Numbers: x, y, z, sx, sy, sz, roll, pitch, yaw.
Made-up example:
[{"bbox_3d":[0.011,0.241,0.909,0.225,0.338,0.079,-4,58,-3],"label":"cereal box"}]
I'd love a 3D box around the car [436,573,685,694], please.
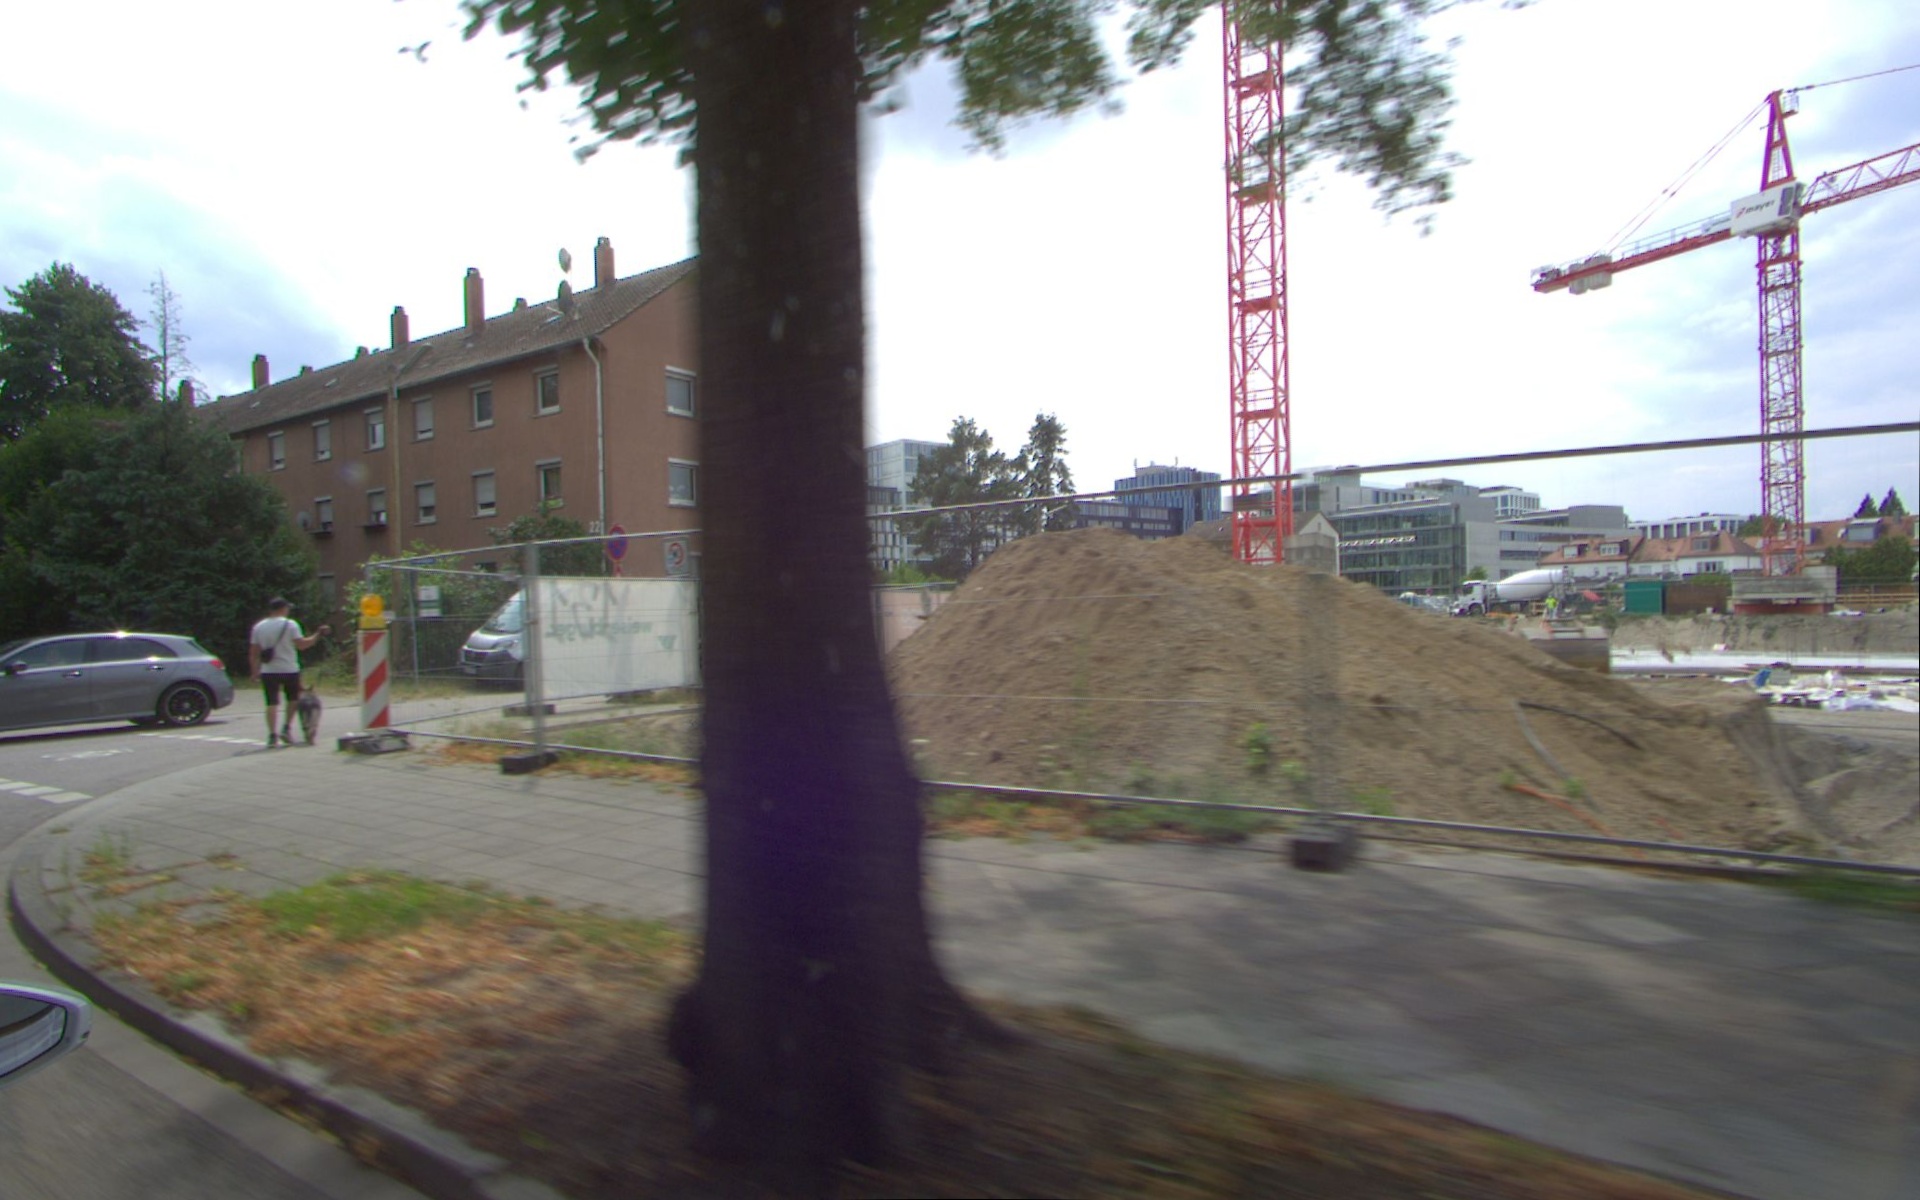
[{"bbox_3d":[-9.786,0.707,25.019,2.303,2.668,5.457,2,2,34],"label":"car"}]

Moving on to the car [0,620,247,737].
[{"bbox_3d":[-13.152,1.123,14.344,1.984,1.461,4.359,-3,-1,34],"label":"car"}]

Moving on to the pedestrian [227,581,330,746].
[{"bbox_3d":[-8.088,0.713,11.878,0.875,1.839,0.881,-3,2,-39],"label":"pedestrian"}]

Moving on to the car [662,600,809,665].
[{"bbox_3d":[-6.671,0.901,30.142,1.875,1.742,4.183,2,1,34],"label":"car"}]

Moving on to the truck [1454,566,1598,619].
[{"bbox_3d":[47.949,-0.591,85.164,10.160,4.189,3.320,-1,2,44],"label":"truck"}]
